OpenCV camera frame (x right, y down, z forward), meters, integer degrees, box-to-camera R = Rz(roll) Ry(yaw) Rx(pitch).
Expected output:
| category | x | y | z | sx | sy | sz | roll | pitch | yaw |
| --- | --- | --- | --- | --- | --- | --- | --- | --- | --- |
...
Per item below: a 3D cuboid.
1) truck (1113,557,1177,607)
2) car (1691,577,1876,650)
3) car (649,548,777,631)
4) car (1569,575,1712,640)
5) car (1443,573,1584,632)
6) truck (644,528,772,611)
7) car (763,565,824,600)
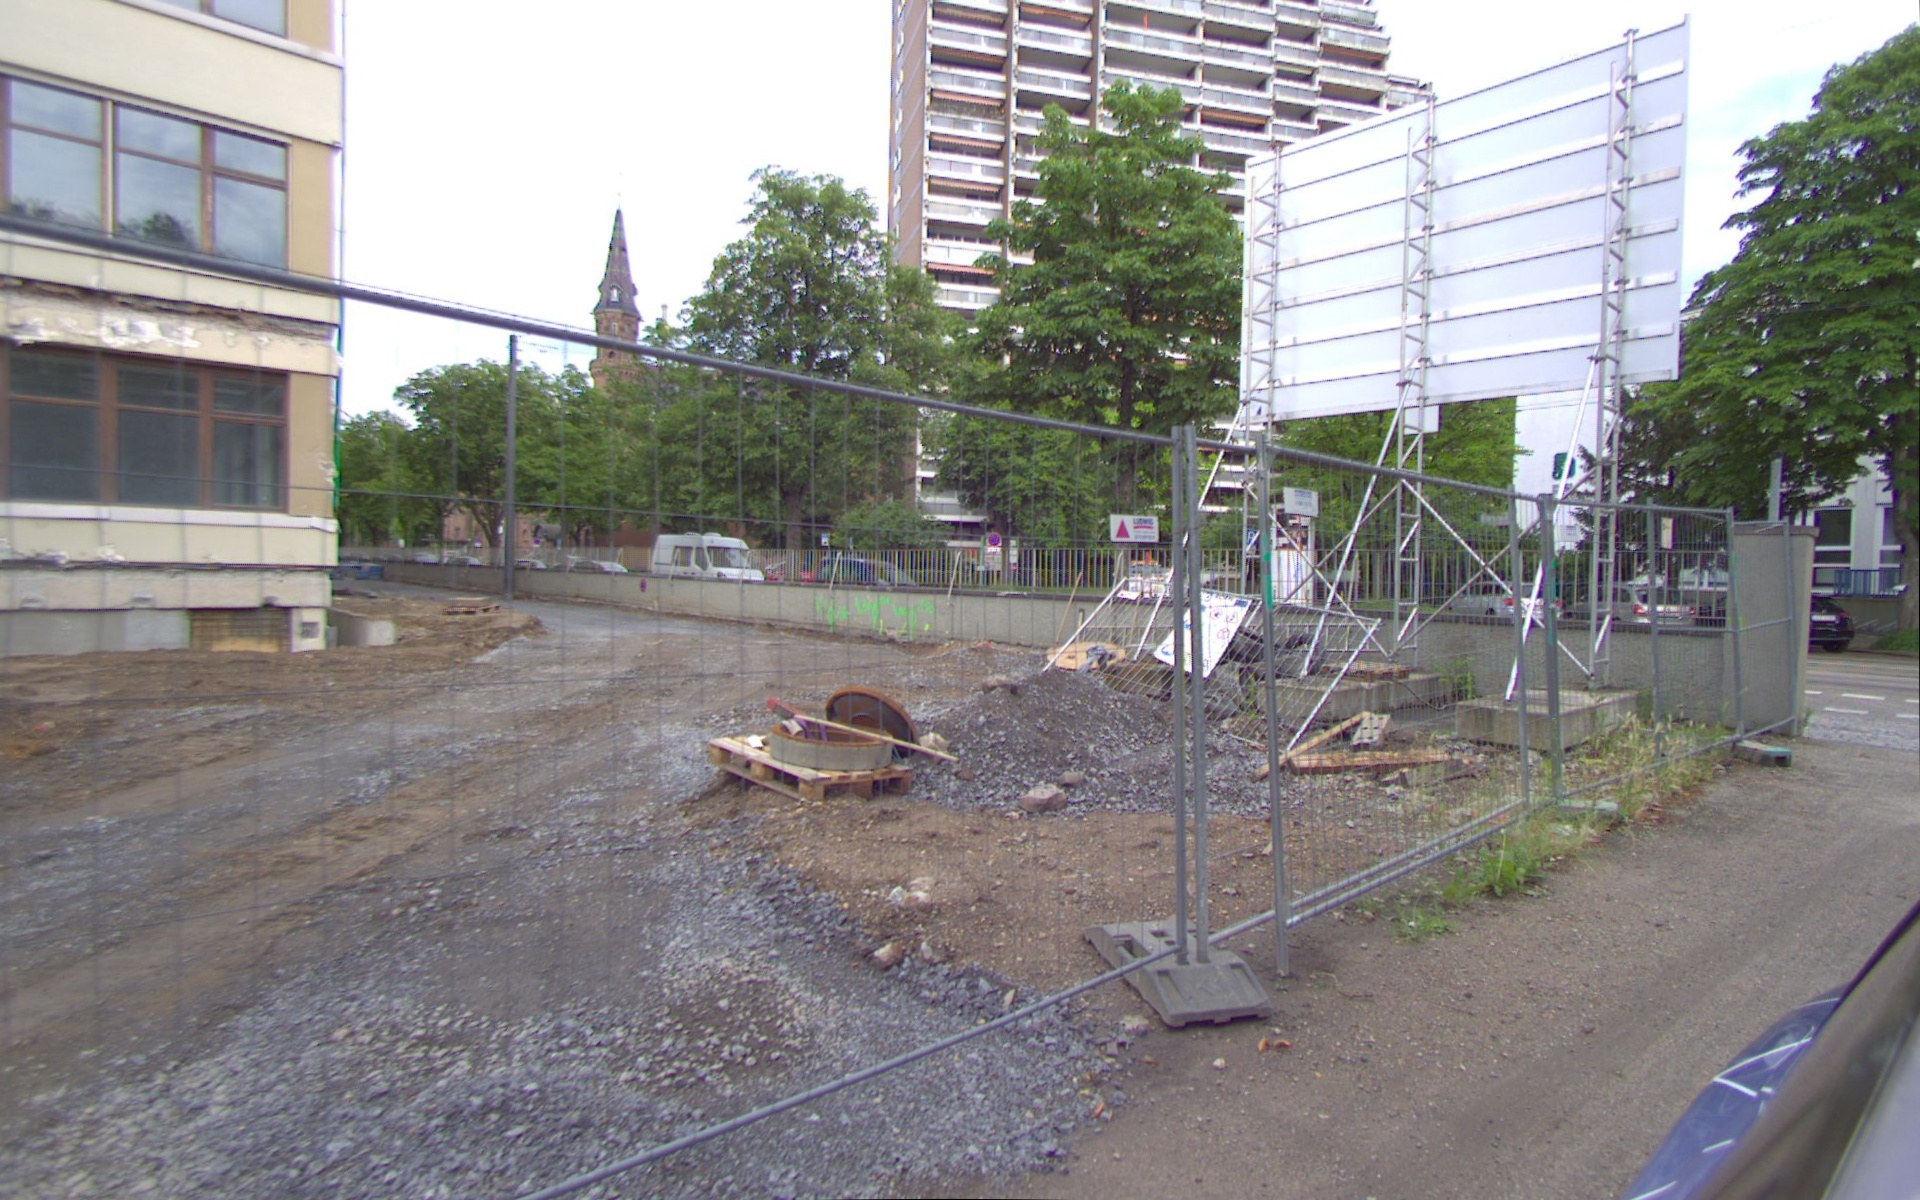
| category | x | y | z | sx | sy | sz | roll | pitch | yaw |
| --- | --- | --- | --- | --- | --- | --- | --- | --- | --- |
| truck | 7.346 | -0.779 | 40.632 | 1.964 | 1.871 | 5.060 | 1 | 2 | 4 |
| car | 20.052 | 0.271 | 24.875 | 1.670 | 1.542 | 3.703 | 0 | 3 | 5 |
| car | -8.653 | -0.454 | 35.020 | 2.082 | 2.634 | 5.485 | -1 | 3 | -40 |
| car | 18.152 | 0.146 | 27.191 | 1.545 | 1.542 | 3.649 | 0 | 3 | 5 |
| car | 16.264 | 0.004 | 30.034 | 1.770 | 1.482 | 4.433 | 1 | 3 | 2 |
| truck | -8.792 | -1.105 | 34.990 | 2.082 | 2.634 | 5.485 | -2 | 3 | -40 |
| car | -7.945 | -0.848 | 48.124 | 1.653 | 1.540 | 2.778 | -2 | 4 | -41 |
